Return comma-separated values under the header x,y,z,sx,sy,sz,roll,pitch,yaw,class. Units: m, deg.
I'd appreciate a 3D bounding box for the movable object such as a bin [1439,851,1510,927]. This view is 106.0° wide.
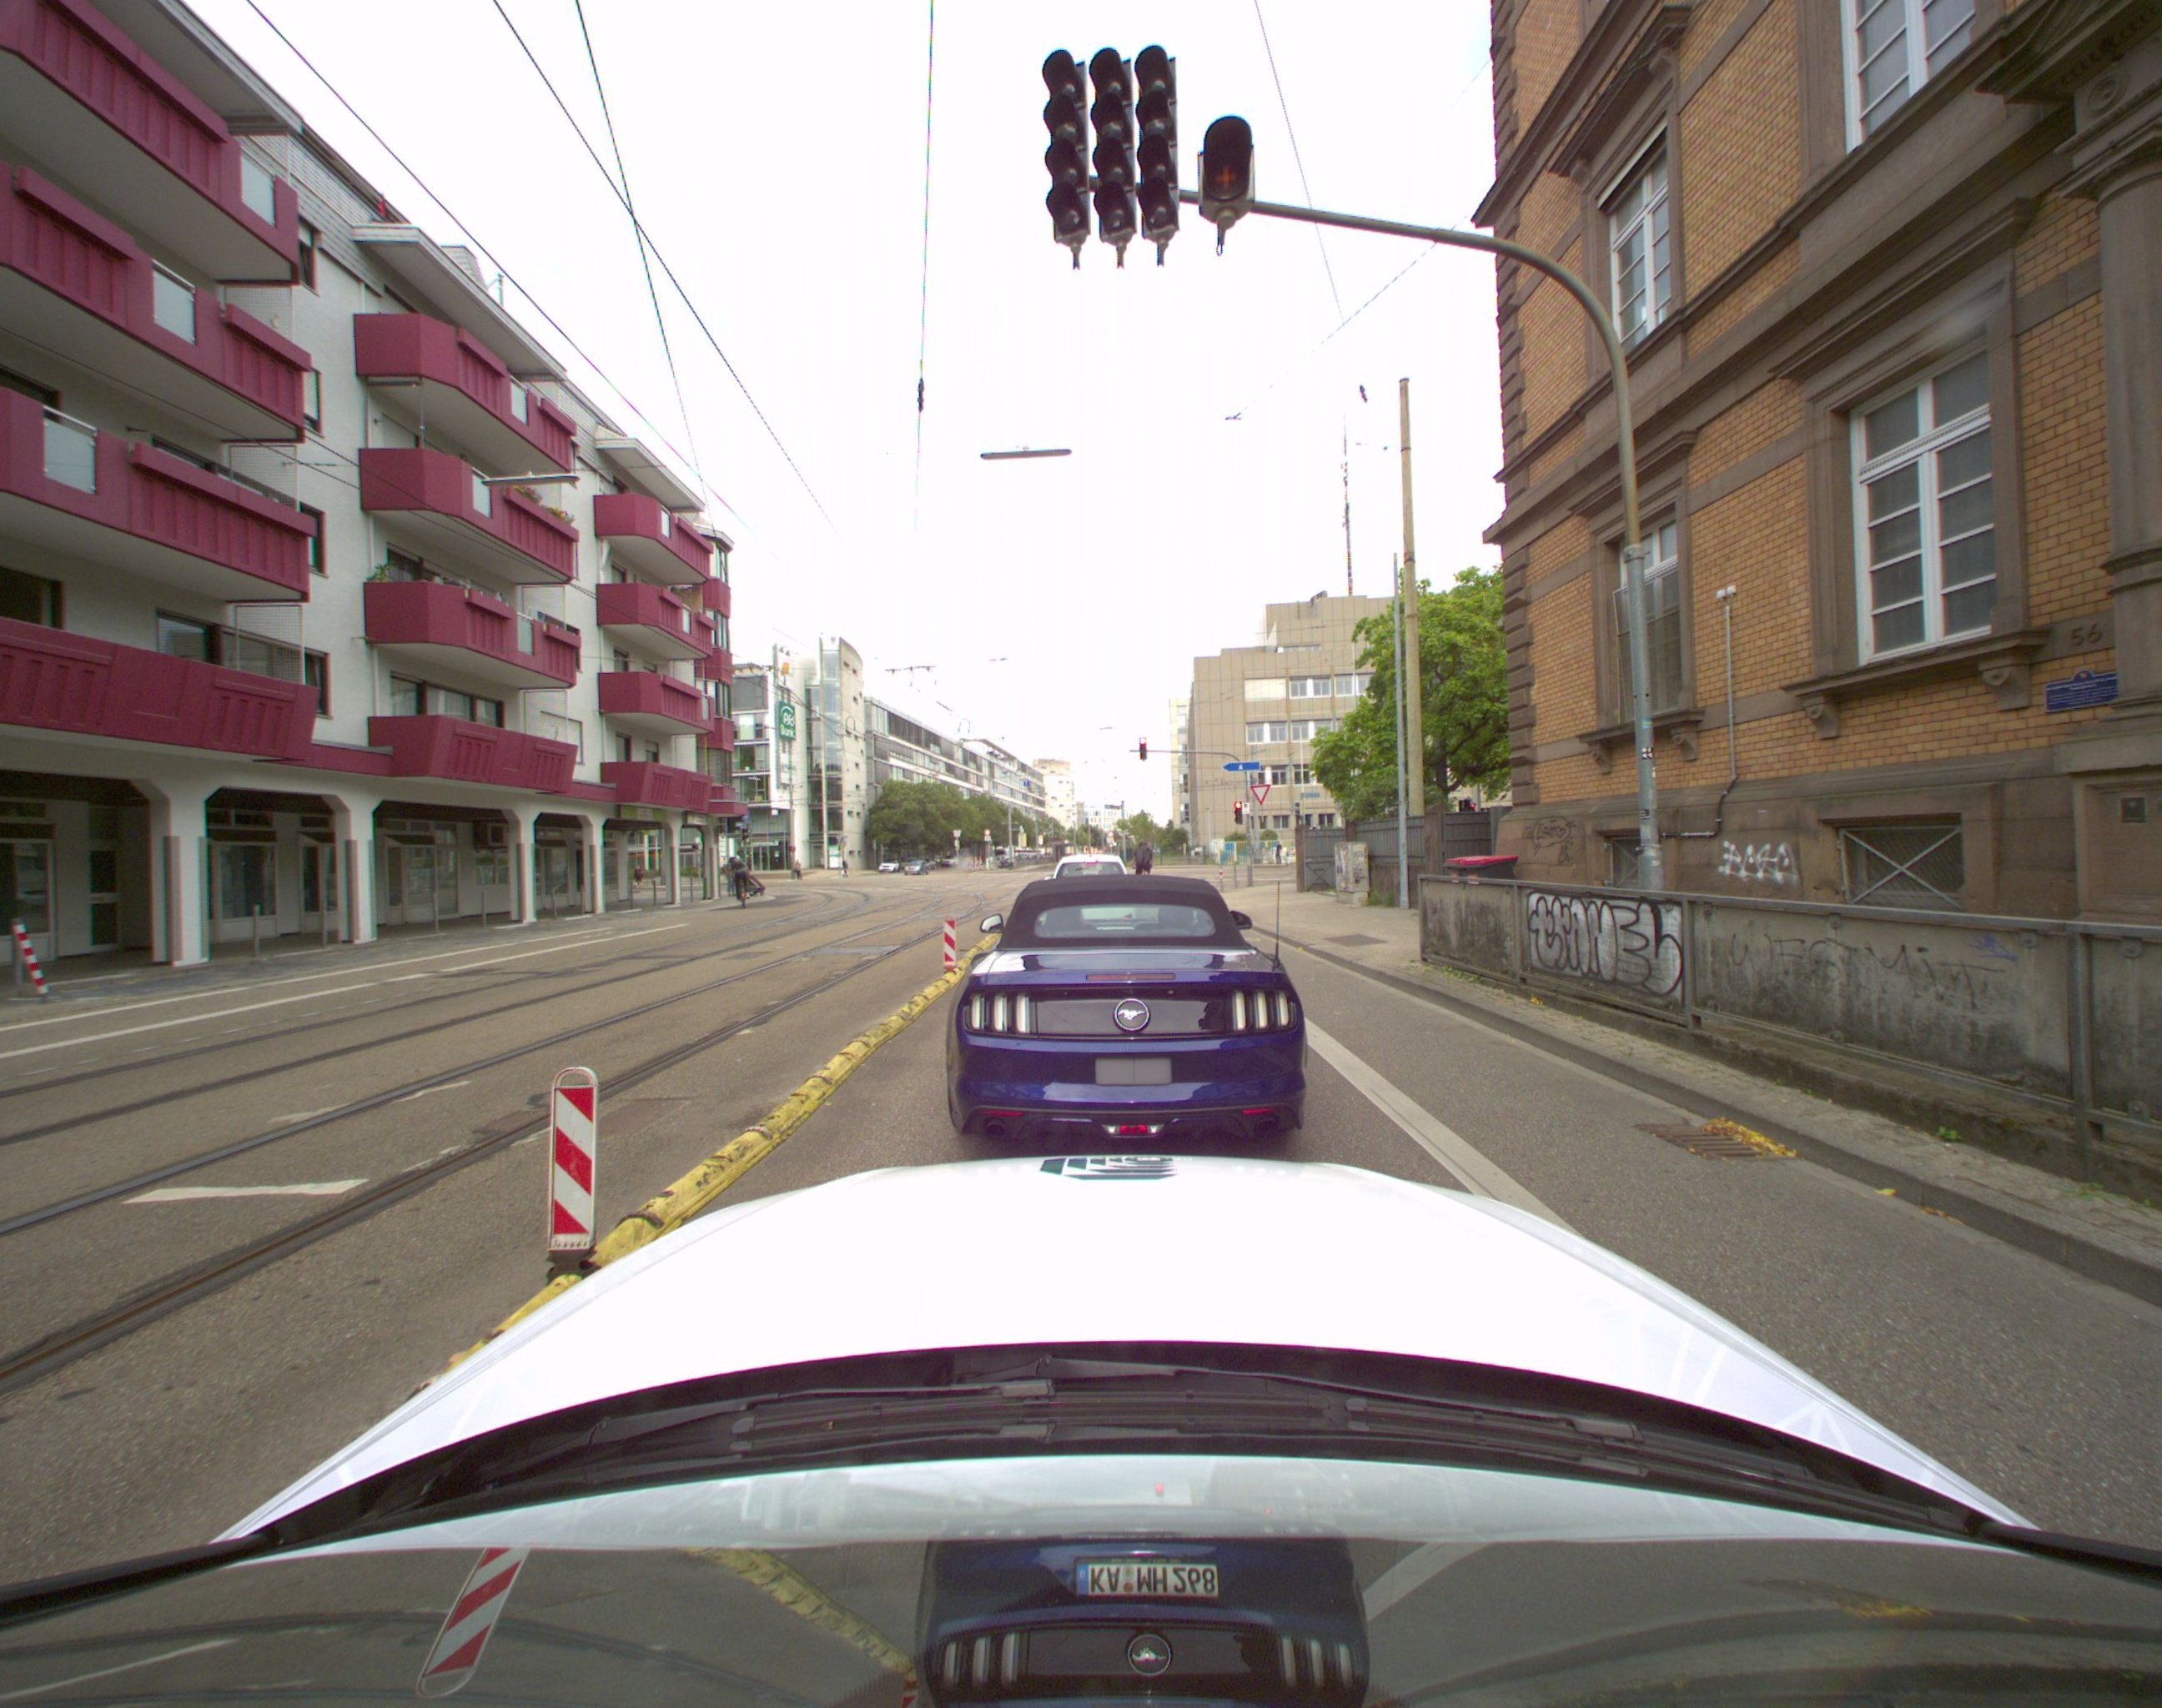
x,y,z,sx,sy,sz,roll,pitch,yaw,class
6.048,0.532,12.556,0.649,1.082,0.677,-5,-1,-4,movable object such as a bin

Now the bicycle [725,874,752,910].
x,y,z,sx,sy,sz,roll,pitch,yaw,class
-11.326,1.226,26.903,0.766,1.086,2.342,-2,0,-23,bicycle

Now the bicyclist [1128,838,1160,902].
x,y,z,sx,sy,sz,roll,pitch,yaw,class
1.809,0.443,23.553,0.793,1.785,1.233,-2,0,0,bicyclist

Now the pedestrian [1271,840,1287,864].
x,y,z,sx,sy,sz,roll,pitch,yaw,class
16.453,-0.171,67.686,1.080,1.898,0.903,-2,0,7,pedestrian

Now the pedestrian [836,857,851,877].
x,y,z,sx,sy,sz,roll,pitch,yaw,class
-22.760,1.260,78.052,0.983,1.855,0.904,-2,0,8,pedestrian

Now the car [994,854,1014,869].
x,y,z,sx,sy,sz,roll,pitch,yaw,class
-9.207,0.872,97.670,1.872,1.628,4.089,-2,0,2,car

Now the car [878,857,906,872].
x,y,z,sx,sy,sz,roll,pitch,yaw,class
-21.268,1.196,91.643,1.820,1.556,4.223,0,0,6,car

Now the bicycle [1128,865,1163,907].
x,y,z,sx,sy,sz,roll,pitch,yaw,class
1.826,0.896,23.380,0.798,1.086,2.131,-2,0,0,bicycle

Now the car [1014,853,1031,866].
x,y,z,sx,sy,sz,roll,pitch,yaw,class
-8.013,0.702,111.226,1.861,1.605,4.214,-2,0,2,car

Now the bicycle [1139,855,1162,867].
x,y,z,sx,sy,sz,roll,pitch,yaw,class
6.187,0.638,72.749,0.637,0.981,2.133,-2,-2,-40,bicycle

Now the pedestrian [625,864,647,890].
x,y,z,sx,sy,sz,roll,pitch,yaw,class
-29.483,1.548,53.918,0.928,1.671,0.769,-2,0,14,pedestrian

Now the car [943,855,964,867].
x,y,z,sx,sy,sz,roll,pitch,yaw,class
-18.302,0.972,116.997,1.978,1.556,4.516,0,0,3,car

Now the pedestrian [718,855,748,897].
x,y,z,sx,sy,sz,roll,pitch,yaw,class
-15.229,0.952,35.640,0.945,1.743,0.811,-2,0,-2,pedestrian

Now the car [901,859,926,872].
x,y,z,sx,sy,sz,roll,pitch,yaw,class
-20.262,1.368,98.833,1.820,1.556,4.223,0,0,6,car

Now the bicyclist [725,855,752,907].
x,y,z,sx,sy,sz,roll,pitch,yaw,class
-11.362,0.876,27.005,0.753,1.651,1.047,-2,0,-23,bicyclist

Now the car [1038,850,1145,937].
x,y,z,sx,sy,sz,roll,pitch,yaw,class
0.103,0.690,16.310,1.831,1.439,4.183,-2,0,-2,car

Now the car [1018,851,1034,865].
x,y,z,sx,sy,sz,roll,pitch,yaw,class
-7.834,0.554,116.354,1.778,1.987,4.123,-2,0,2,car

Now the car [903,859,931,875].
x,y,z,sx,sy,sz,roll,pitch,yaw,class
-16.789,1.322,83.582,1.659,1.506,4.242,0,0,6,car

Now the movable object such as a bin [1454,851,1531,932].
x,y,z,sx,sy,sz,roll,pitch,yaw,class
5.966,0.531,11.841,0.662,1.082,0.700,-5,-1,-3,movable object such as a bin

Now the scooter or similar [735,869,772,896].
x,y,z,sx,sy,sz,roll,pitch,yaw,class
-14.337,1.228,35.691,1.192,1.128,0.946,-1,0,-1,scooter or similar

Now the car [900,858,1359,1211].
x,y,z,sx,sy,sz,roll,pitch,yaw,class
0.275,0.756,5.485,1.869,1.404,4.284,-1,0,2,car

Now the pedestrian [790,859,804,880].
x,y,z,sx,sy,sz,roll,pitch,yaw,class
-25.390,1.363,72.924,0.828,1.865,0.769,-2,0,14,pedestrian
